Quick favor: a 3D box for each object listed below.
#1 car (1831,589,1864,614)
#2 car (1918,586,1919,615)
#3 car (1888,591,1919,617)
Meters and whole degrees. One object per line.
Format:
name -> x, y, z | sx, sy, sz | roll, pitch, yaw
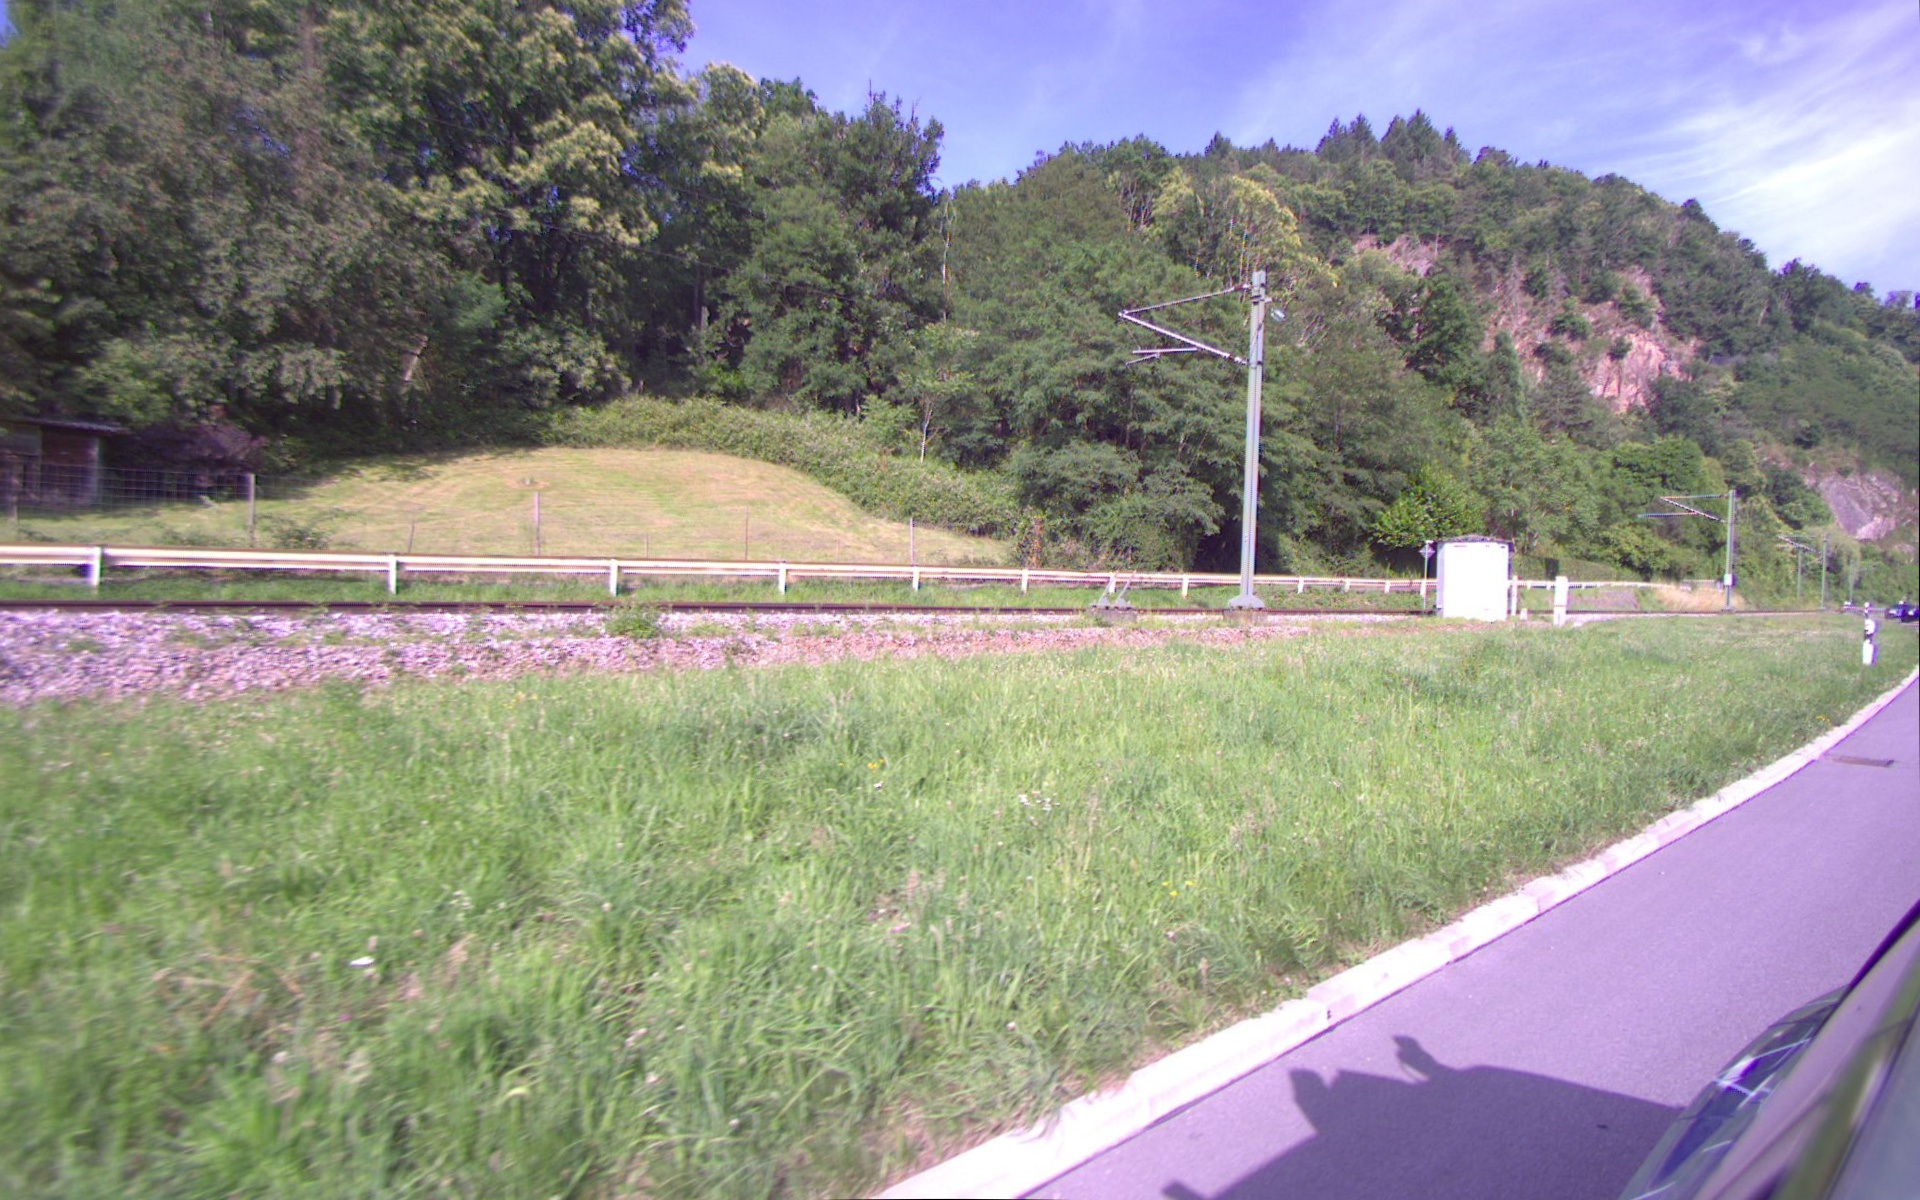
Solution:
car -> 80.659, 0.134, 91.971 | 1.995, 2.038, 3.937 | 5, 3, 44
car -> 69.654, 0.136, 71.927 | 3.933, 2.038, 1.997 | 1, 3, -43
car -> 80.298, 0.322, 86.008 | 1.994, 2.038, 3.938 | 5, 3, 43
